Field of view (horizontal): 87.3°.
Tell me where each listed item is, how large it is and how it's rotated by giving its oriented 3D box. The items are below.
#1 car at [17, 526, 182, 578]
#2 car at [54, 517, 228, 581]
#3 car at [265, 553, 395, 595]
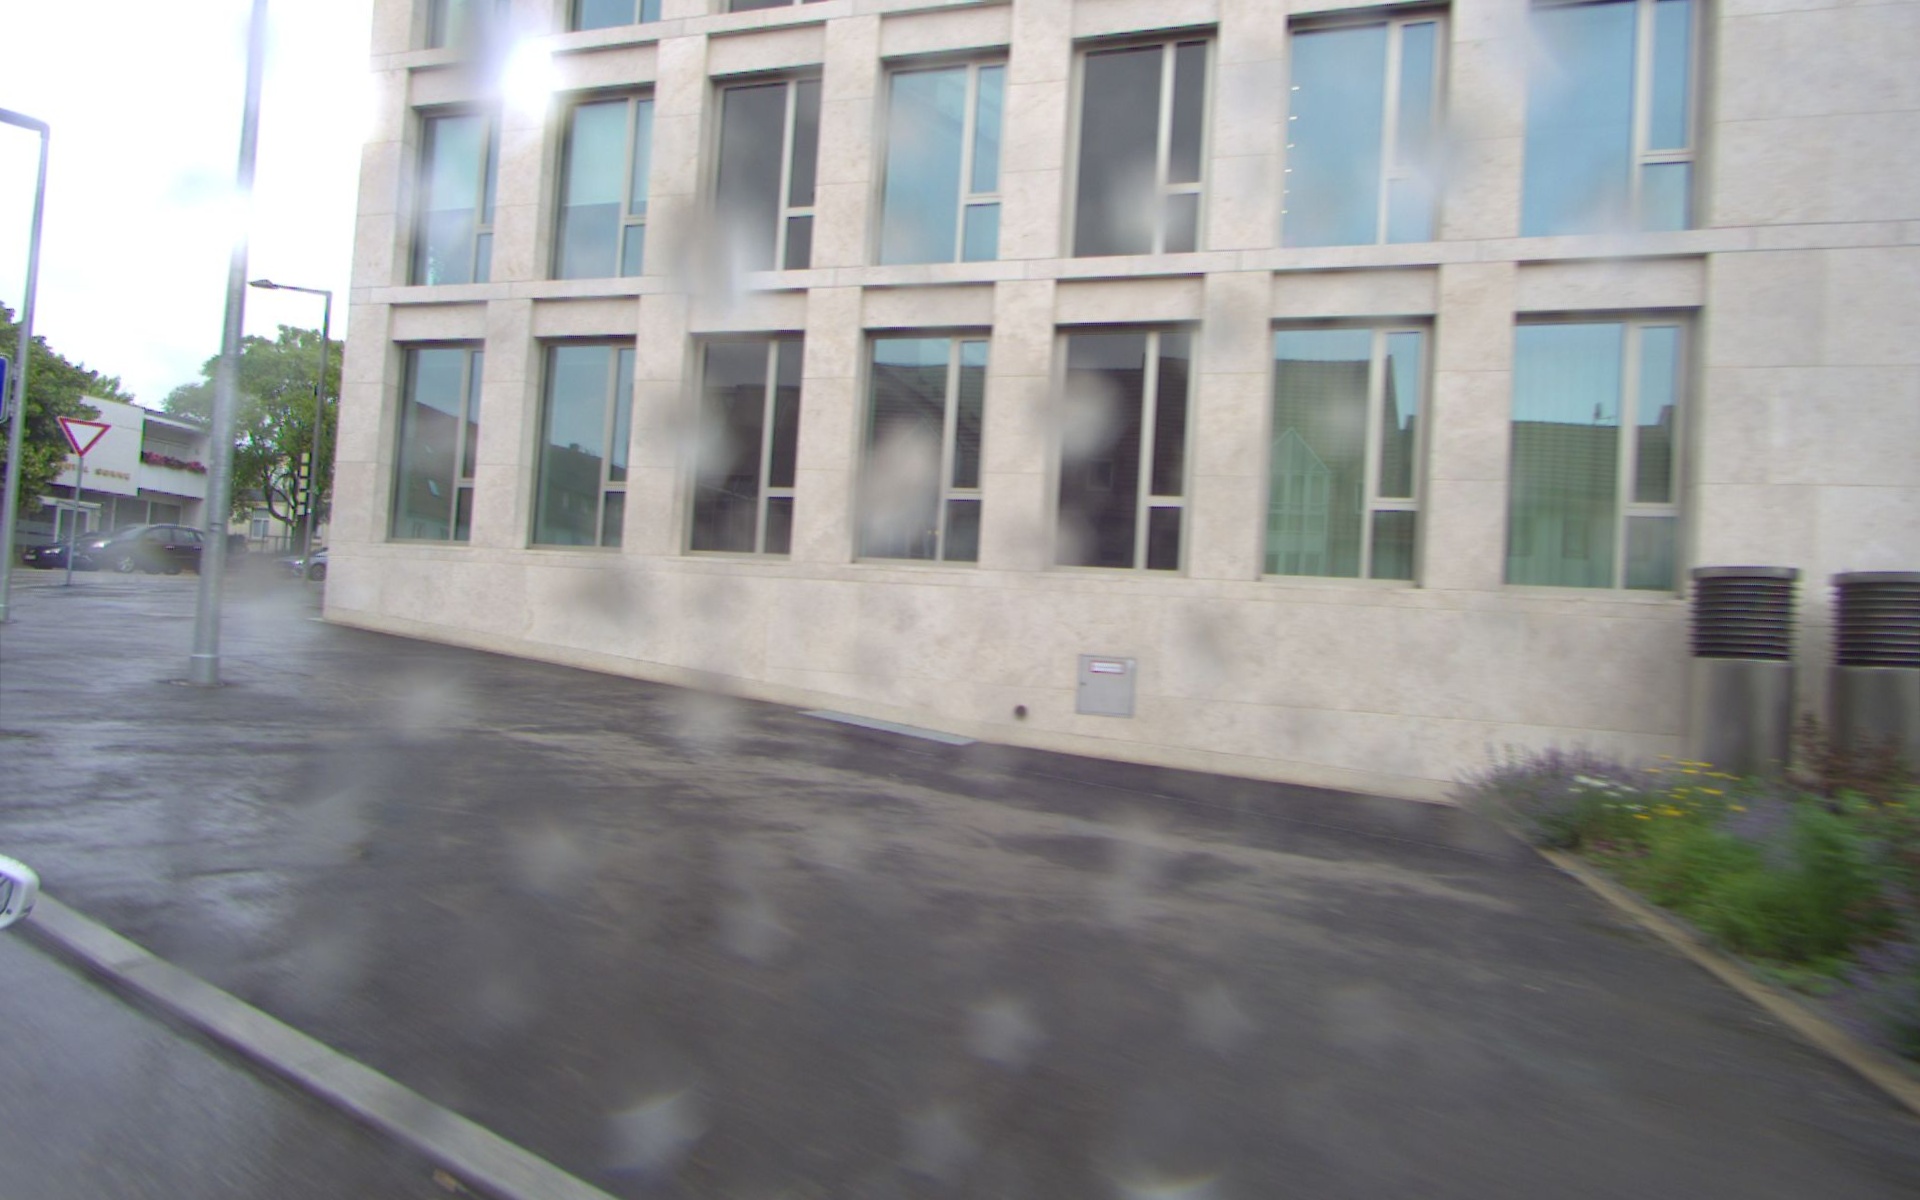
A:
[{"bbox_3d":[-30.302,-1.658,35.607,1.745,1.538,4.185,2,0,15],"label":"car"},{"bbox_3d":[-27.390,-1.657,33.835,1.745,1.838,4.315,2,0,15],"label":"car"},{"bbox_3d":[-25.582,-1.020,41.060,1.745,1.470,4.539,2,-1,15],"label":"car"}]
